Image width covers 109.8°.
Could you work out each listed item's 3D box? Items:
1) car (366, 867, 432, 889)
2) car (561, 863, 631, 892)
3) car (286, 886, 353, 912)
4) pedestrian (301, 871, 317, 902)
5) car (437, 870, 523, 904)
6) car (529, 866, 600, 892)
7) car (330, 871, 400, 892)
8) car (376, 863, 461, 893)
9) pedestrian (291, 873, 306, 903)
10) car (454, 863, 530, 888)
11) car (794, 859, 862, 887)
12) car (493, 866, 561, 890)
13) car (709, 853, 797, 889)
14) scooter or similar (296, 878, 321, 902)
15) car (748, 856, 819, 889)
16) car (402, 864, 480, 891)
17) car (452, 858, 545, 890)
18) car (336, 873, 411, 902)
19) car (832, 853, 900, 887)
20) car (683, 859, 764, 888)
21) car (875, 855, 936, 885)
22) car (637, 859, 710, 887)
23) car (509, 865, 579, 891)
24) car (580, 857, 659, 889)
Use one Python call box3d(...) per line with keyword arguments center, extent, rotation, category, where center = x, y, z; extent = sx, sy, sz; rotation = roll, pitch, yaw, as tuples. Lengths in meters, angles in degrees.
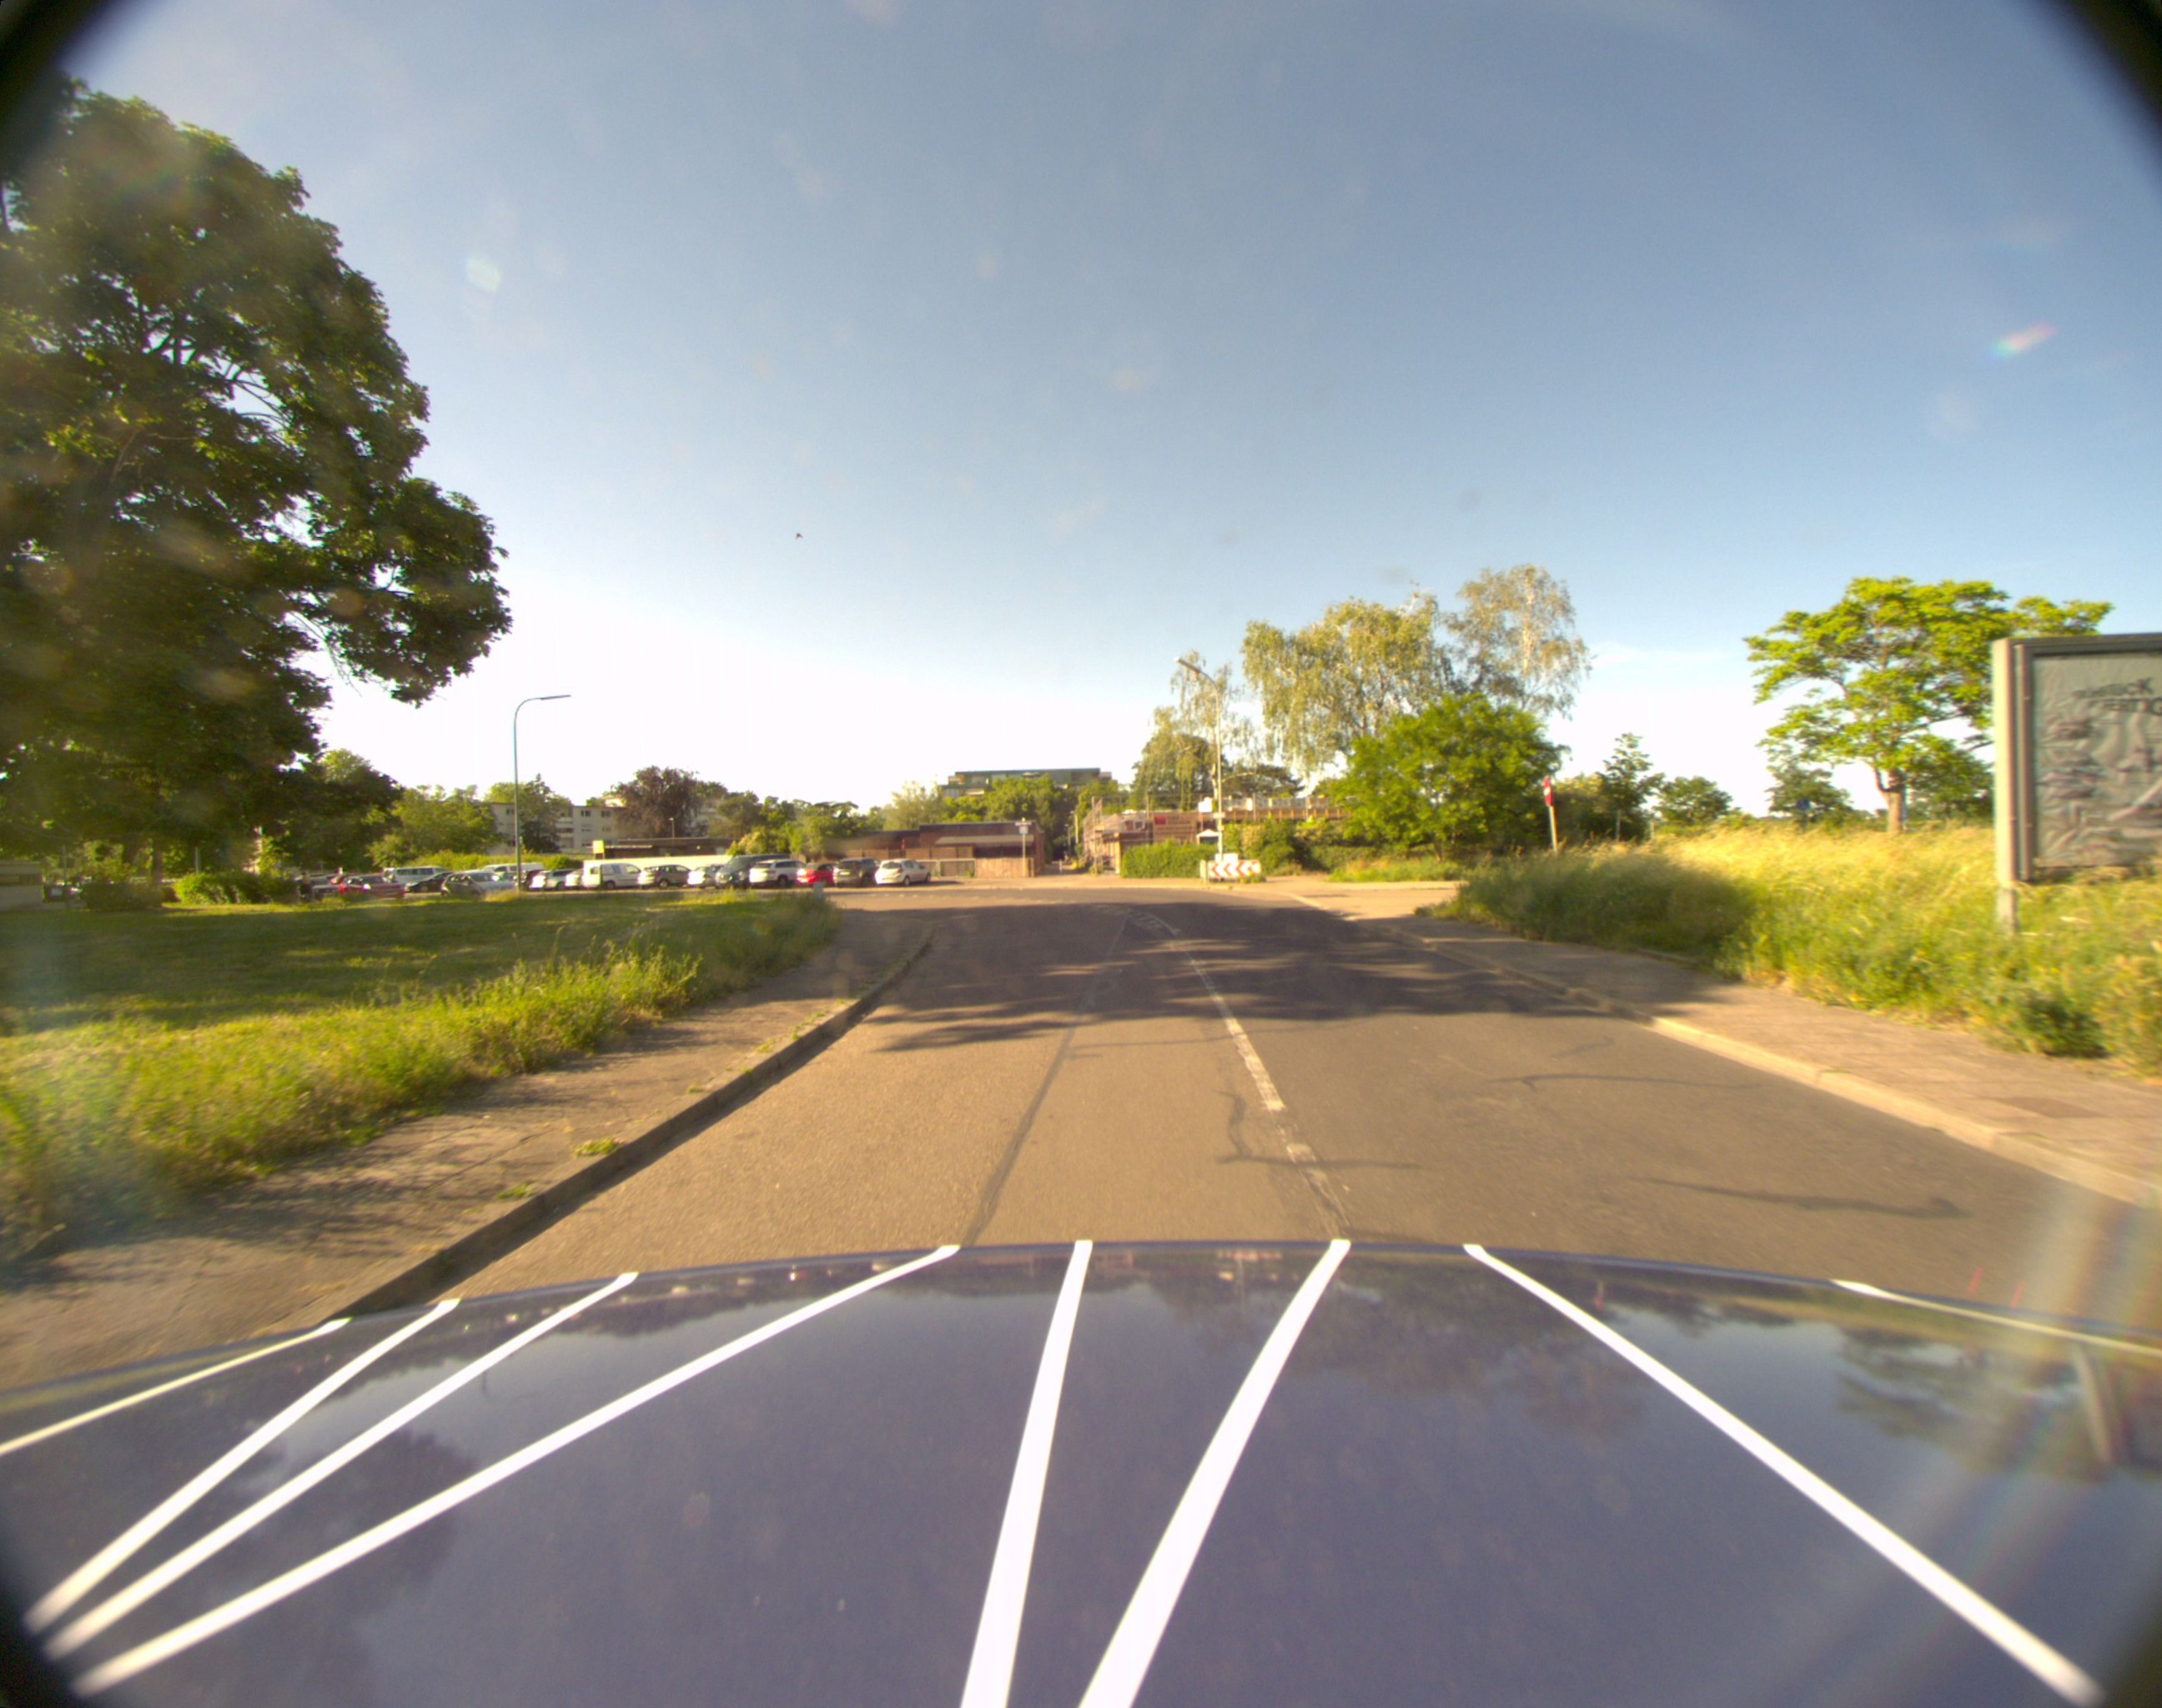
box3d(center=(-56.932, 1.978, 63.468), extent=(1.876, 1.558, 3.619), rotation=(-2, 2, 30), category="car")
box3d(center=(-32.451, 1.558, 50.947), extent=(1.723, 1.481, 3.528), rotation=(2, 5, 24), category="car")
box3d(center=(-45.553, 2.646, 45.456), extent=(3.872, 1.395, 1.655), rotation=(-1, 1, 26), category="car")
box3d(center=(-39.273, 1.649, 38.659), extent=(0.595, 1.555, 0.484), rotation=(0, 0, 36), category="pedestrian")
box3d(center=(-29.999, 1.614, 37.933), extent=(3.779, 1.534, 1.739), rotation=(-1, 2, 23), category="car")
box3d(center=(-35.118, 1.677, 51.760), extent=(1.632, 1.481, 3.530), rotation=(-1, 3, 28), category="car")
box3d(center=(-62.916, 2.374, 66.835), extent=(1.786, 1.471, 4.006), rotation=(-2, 2, 30), category="car")
box3d(center=(-52.304, 1.835, 60.098), extent=(1.995, 1.966, 4.500), rotation=(0, 3, 29), category="car")
box3d(center=(-39.131, 1.701, 38.001), extent=(0.499, 1.494, 0.363), rotation=(0, 0, 23), category="pedestrian")
box3d(center=(-44.231, 1.599, 57.111), extent=(1.879, 1.574, 4.006), rotation=(0, 3, 29), category="car")
box3d(center=(-14.585, 1.056, 43.940), extent=(1.729, 1.337, 3.628), rotation=(-1, 3, 23), category="car")
box3d(center=(-39.511, 1.702, 54.301), extent=(1.633, 1.438, 3.529), rotation=(-1, 3, 21), category="car")
box3d(center=(-19.462, 0.946, 45.377), extent=(1.996, 1.905, 4.893), rotation=(-1, 1, 19), category="car")
box3d(center=(-40.068, 1.877, 39.426), extent=(0.903, 1.220, 0.626), rotation=(-1, 0, 25), category="scooter or similar")
box3d(center=(-17.193, 1.034, 44.027), extent=(1.729, 1.598, 3.628), rotation=(-1, 3, 23), category="car")
box3d(center=(-49.652, 1.793, 59.043), extent=(1.878, 1.697, 4.171), rotation=(0, 3, 32), category="car")
box3d(center=(-42.038, 1.428, 54.979), extent=(2.077, 1.910, 4.810), rotation=(-1, 3, 24), category="car")
box3d(center=(-39.166, 1.825, 42.072), extent=(3.779, 1.438, 1.583), rotation=(-1, 2, 23), category="car")
box3d(center=(-12.048, 0.862, 42.839), extent=(1.815, 1.603, 4.003), rotation=(-1, 3, 16), category="car")
box3d(center=(-21.841, 1.169, 46.569), extent=(1.921, 1.484, 4.156), rotation=(-1, 3, 24), category="car")
box3d(center=(-9.675, 0.871, 42.114), extent=(1.631, 1.450, 3.702), rotation=(-1, 2, 16), category="car")
box3d(center=(-25.901, 1.190, 48.433), extent=(1.785, 1.524, 3.831), rotation=(-1, 1, 20), category="car")
box3d(center=(-37.226, 1.662, 52.778), extent=(1.633, 1.481, 3.529), rotation=(-3, 2, 24), category="car")
box3d(center=(-30.349, 1.208, 50.081), extent=(1.921, 1.771, 3.994), rotation=(-2, 3, 22), category="car")
